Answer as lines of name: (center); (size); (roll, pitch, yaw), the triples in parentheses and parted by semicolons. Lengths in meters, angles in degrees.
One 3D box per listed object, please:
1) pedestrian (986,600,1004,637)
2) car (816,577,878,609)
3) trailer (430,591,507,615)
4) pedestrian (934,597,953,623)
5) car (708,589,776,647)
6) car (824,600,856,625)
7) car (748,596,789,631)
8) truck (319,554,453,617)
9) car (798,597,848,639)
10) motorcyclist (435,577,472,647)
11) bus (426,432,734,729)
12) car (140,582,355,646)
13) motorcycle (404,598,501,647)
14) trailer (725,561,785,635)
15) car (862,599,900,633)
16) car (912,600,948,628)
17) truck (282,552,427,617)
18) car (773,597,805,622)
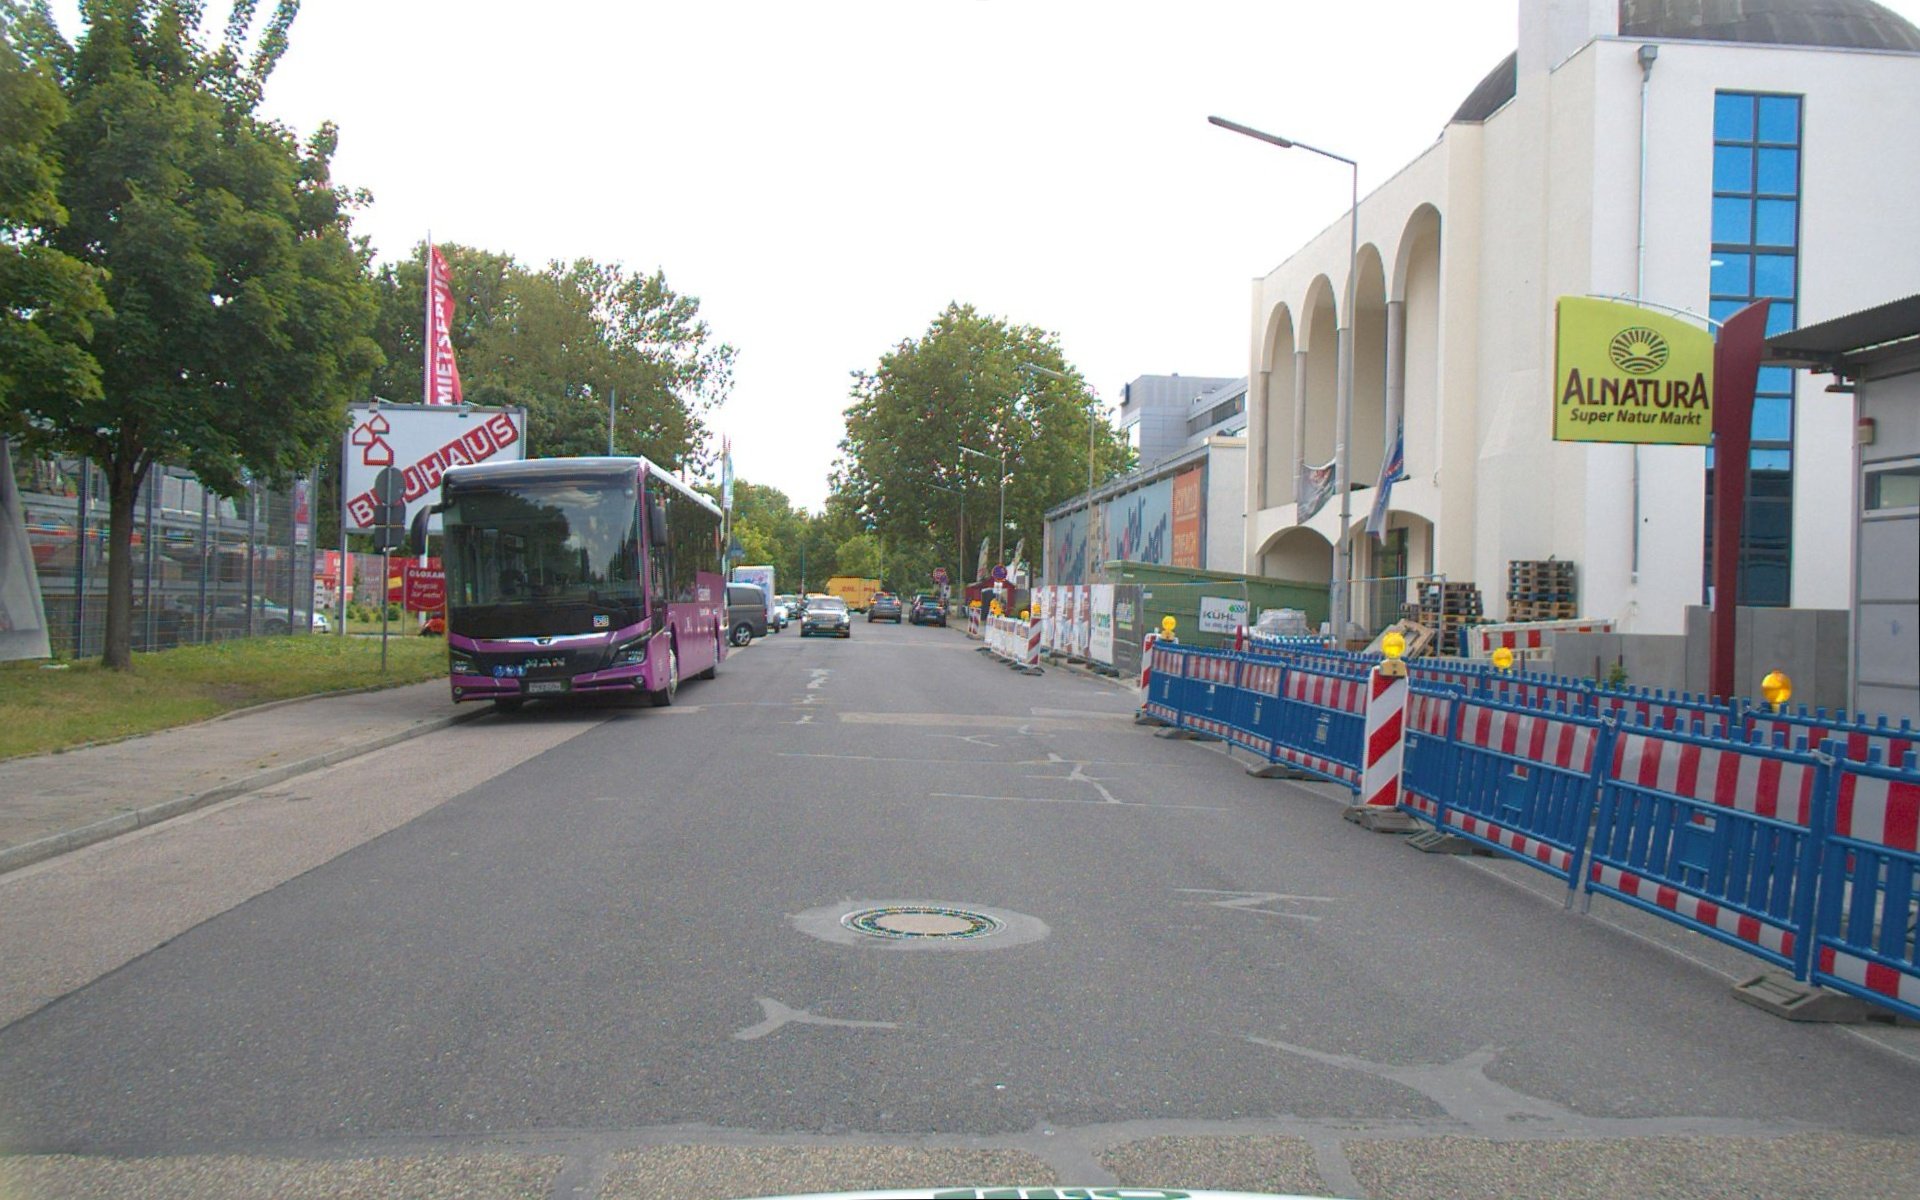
pedestrian: (1.511, 0.787, 71.750); (0.667, 1.560, 1.129); (2, -1, -3)
car: (-9.410, -0.584, 137.147); (2.180, 2.623, 6.326); (1, 0, -35)
trailer: (-27.490, 0.164, 92.646); (3.738, 1.211, 1.715); (1, 0, 2)
pedestrian: (-1.252, 0.725, 123.122); (0.986, 1.881, 1.221); (2, -1, -21)
car: (-6.678, 0.522, 51.055); (1.832, 1.658, 4.123); (1, 0, -5)
car: (-7.374, 0.748, 101.890); (1.885, 1.401, 4.377); (1, 0, -3)
car: (-8.856, 0.595, 76.709); (1.731, 1.505, 4.231); (-1, 0, -5)
truck: (-26.314, -0.642, 76.007); (5.437, 2.639, 1.778); (2, -2, -4)
car: (-5.036, 0.653, 61.204); (1.760, 1.484, 4.381); (0, 0, -4)
motorcyclist: (-13.021, 0.302, 42.520); (0.660, 1.753, 0.994); (1, 0, -3)
bus: (-5.460, -0.251, 26.500); (2.610, 3.482, 13.208); (-2, 0, -4)
car: (-18.093, 0.352, 42.152); (4.590, 1.479, 1.953); (2, 0, -3)
motorcycle: (-13.026, 0.574, 42.518); (2.177, 1.235, 0.994); (1, 0, -3)
trailer: (-8.145, -0.102, 66.119); (2.097, 2.832, 4.699); (-1, 0, -4)
car: (-4.538, 0.887, 94.014); (1.924, 1.847, 4.270); (1, 0, -6)
car: (-1.699, 0.752, 92.193); (1.772, 1.415, 4.586); (4, 0, -2)
truck: (-26.601, -0.673, 72.790); (5.639, 2.639, 1.814); (2, -2, -2)
car: (-10.429, 0.576, 100.953); (1.675, 1.445, 4.329); (-1, 0, -2)
